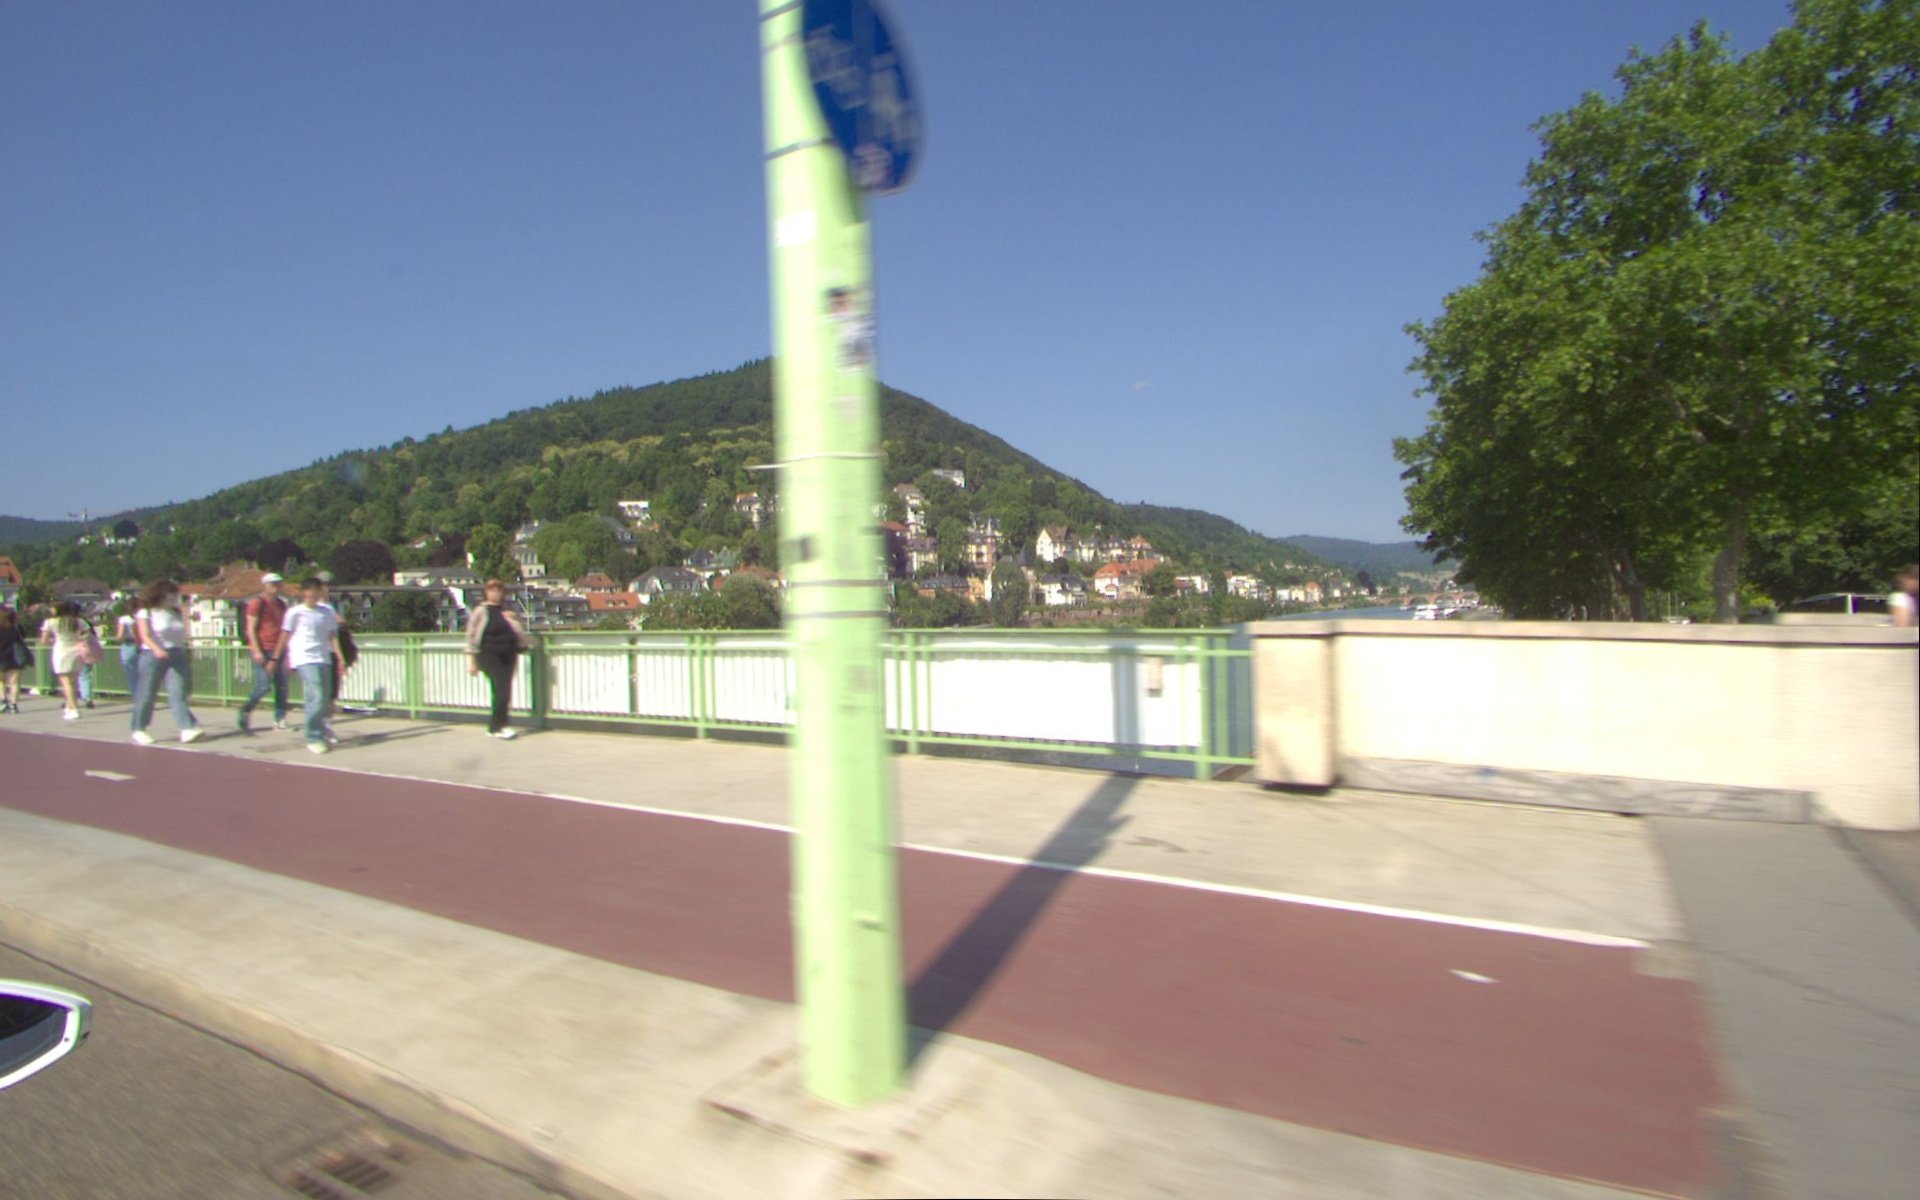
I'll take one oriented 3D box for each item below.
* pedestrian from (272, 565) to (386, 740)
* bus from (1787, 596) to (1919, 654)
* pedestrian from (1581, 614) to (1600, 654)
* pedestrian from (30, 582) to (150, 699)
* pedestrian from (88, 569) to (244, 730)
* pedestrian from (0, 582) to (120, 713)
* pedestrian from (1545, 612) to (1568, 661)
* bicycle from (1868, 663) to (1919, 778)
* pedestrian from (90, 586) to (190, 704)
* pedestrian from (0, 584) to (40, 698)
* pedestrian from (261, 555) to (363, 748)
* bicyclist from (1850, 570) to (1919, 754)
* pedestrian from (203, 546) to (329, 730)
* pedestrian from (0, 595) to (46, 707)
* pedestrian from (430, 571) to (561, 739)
[{"bbox_3d":[-6.552,0.529,10.413,0.720,1.739,0.695,-1,1,26],"label":"pedestrian"},{"bbox_3d":[48.022,1.265,53.995,3.059,2.820,8.824,-1,0,25],"label":"bus"},{"bbox_3d":[28.908,1.536,45.908,0.666,1.799,0.740,0,1,26],"label":"pedestrian"},{"bbox_3d":[-13.898,0.618,16.010,1.234,1.794,0.984,0,2,26],"label":"pedestrian"},{"bbox_3d":[-8.544,0.510,10.802,0.907,1.637,0.984,-1,1,26],"label":"pedestrian"},{"bbox_3d":[-12.749,0.647,14.178,0.915,1.773,0.984,-1,1,26],"label":"pedestrian"},{"bbox_3d":[22.529,1.370,37.811,0.666,1.799,0.740,0,1,26],"label":"pedestrian"},{"bbox_3d":[8.329,1.002,8.603,0.558,0.838,1.933,0,0,35],"label":"bicycle"},{"bbox_3d":[-12.271,0.655,14.994,0.871,1.699,0.833,-1,1,26],"label":"pedestrian"},{"bbox_3d":[-17.021,0.720,17.567,0.925,1.980,1.014,-1,1,29],"label":"pedestrian"},{"bbox_3d":[-6.355,0.494,9.826,0.635,1.823,0.548,-1,1,26],"label":"pedestrian"},{"bbox_3d":[8.229,0.509,8.479,0.916,1.493,1.076,0,0,36],"label":"bicyclist"},{"bbox_3d":[-8.073,0.426,11.670,0.939,2.040,0.802,-1,1,26],"label":"pedestrian"},{"bbox_3d":[-14.589,0.765,15.277,0.854,1.672,0.654,-1,1,26],"label":"pedestrian"},{"bbox_3d":[-4.828,0.547,10.427,0.935,1.657,0.798,-1,1,28],"label":"pedestrian"}]
